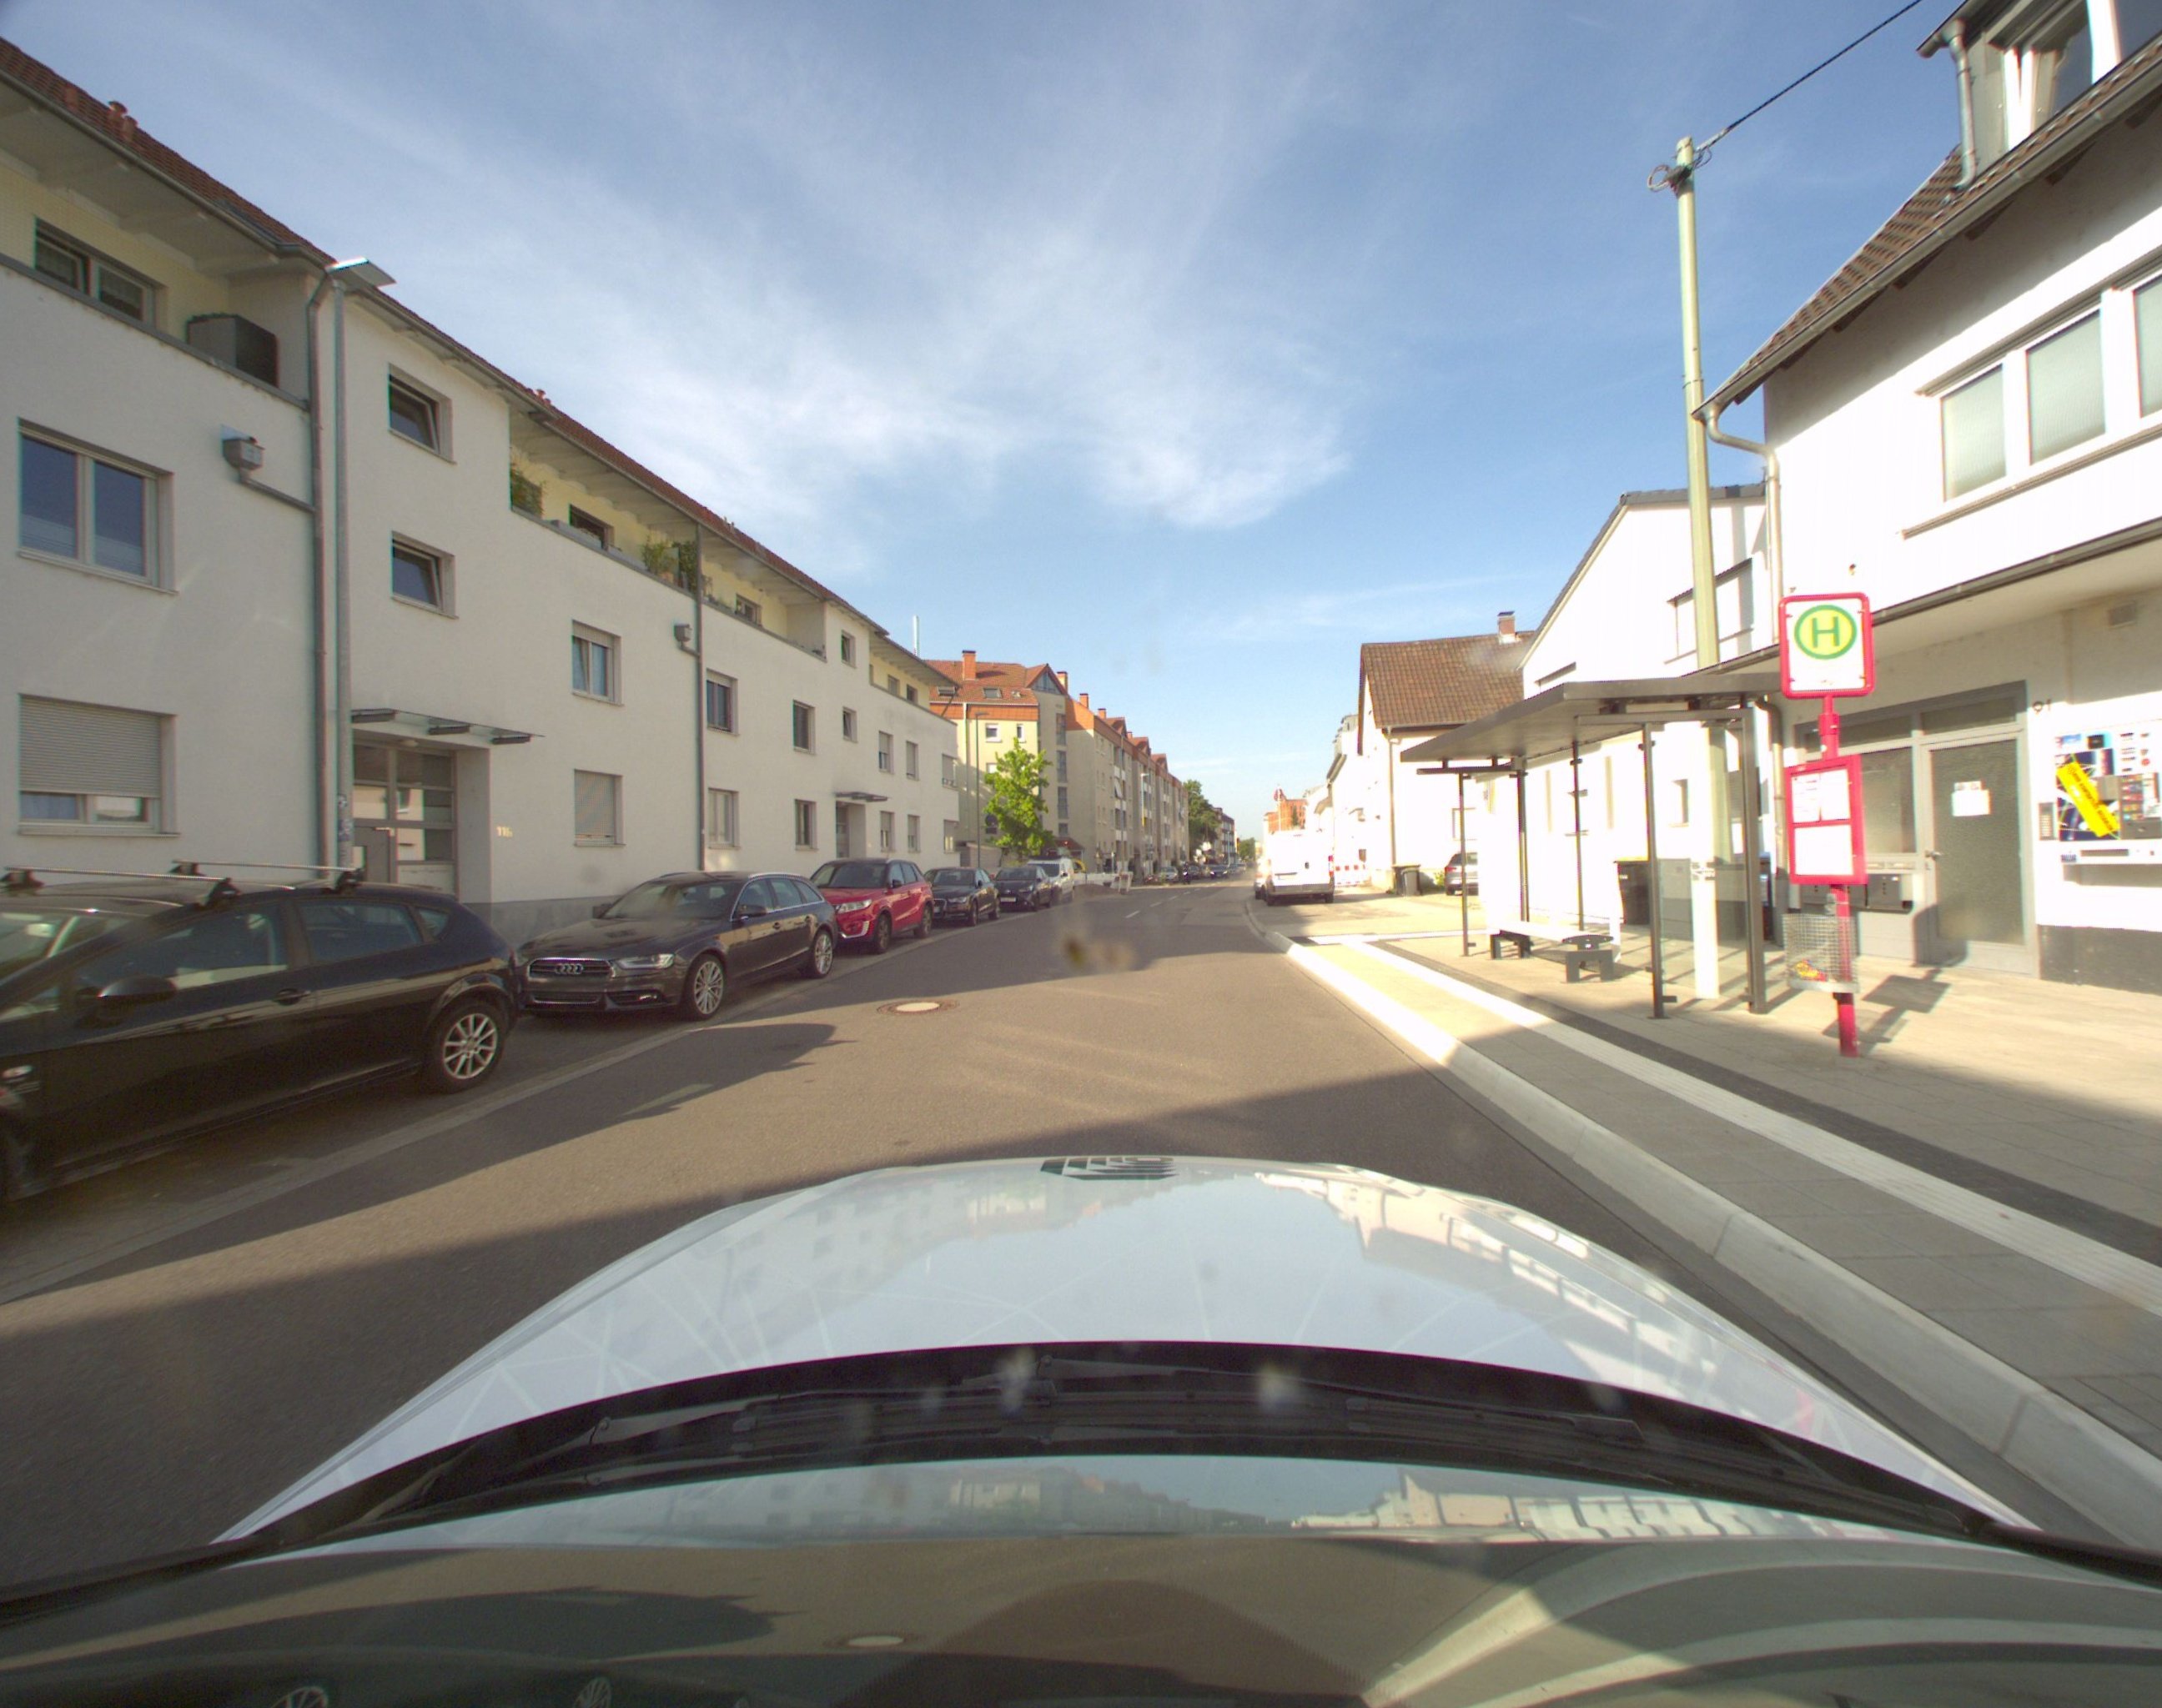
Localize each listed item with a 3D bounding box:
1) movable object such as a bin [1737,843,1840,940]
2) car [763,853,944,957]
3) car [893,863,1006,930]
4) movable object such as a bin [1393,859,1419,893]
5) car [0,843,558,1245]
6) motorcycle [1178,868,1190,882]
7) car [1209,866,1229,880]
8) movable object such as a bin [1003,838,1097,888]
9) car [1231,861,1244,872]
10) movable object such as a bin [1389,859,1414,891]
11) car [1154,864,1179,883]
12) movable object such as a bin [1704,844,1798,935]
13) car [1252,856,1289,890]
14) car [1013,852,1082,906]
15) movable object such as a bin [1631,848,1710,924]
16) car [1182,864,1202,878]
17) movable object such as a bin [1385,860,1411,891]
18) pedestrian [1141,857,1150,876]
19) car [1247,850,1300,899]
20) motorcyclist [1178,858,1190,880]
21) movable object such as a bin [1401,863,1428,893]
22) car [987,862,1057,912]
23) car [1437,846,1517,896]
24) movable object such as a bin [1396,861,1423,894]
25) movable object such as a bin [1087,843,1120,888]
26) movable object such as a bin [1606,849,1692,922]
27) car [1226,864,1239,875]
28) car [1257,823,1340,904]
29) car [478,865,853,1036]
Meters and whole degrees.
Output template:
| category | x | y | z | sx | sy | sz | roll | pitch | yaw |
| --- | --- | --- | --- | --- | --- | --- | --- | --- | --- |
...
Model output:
| category | x | y | z | sx | sy | sz | roll | pitch | yaw |
| --- | --- | --- | --- | --- | --- | --- | --- | --- | --- |
| movable object such as a bin | 8.422 | 0.440 | 9.712 | 0.692 | 1.093 | 0.560 | -2 | -1 | 6 |
| car | -3.981 | 0.821 | 15.043 | 1.718 | 1.622 | 4.270 | -1 | 0 | 6 |
| car | -3.168 | 0.982 | 20.461 | 1.718 | 1.478 | 4.270 | -1 | 0 | 6 |
| movable object such as a bin | 11.177 | 0.763 | 28.003 | 0.723 | 1.132 | 0.555 | -1 | -1 | 11 |
| car | -5.160 | 0.765 | 4.323 | 1.767 | 1.622 | 4.183 | 1 | 0 | 5 |
| motorcycle | 7.956 | 1.590 | 62.769 | 0.763 | 0.985 | 2.206 | -2 | 0 | 11 |
| car | 14.527 | 1.968 | 85.558 | 1.817 | 1.420 | 4.223 | -2 | -1 | 12 |
| movable object such as a bin | -1.819 | 0.525 | 48.541 | 5.482 | 2.900 | 2.110 | -1 | 0 | -2 |
| car | 25.790 | 2.074 | 134.232 | 1.909 | 1.767 | 4.352 | -2 | -1 | 12 |
| movable object such as a bin | 11.274 | 0.741 | 28.650 | 0.723 | 1.093 | 0.555 | -1 | -1 | 11 |
| car | 7.139 | 1.597 | 67.549 | 1.629 | 1.395 | 3.683 | -2 | -1 | 12 |
| movable object such as a bin | 8.508 | 0.445 | 10.360 | 0.693 | 1.093 | 0.559 | -2 | -1 | 4 |
| car | 10.370 | 0.976 | 44.563 | 1.799 | 1.683 | 4.492 | -3 | -1 | 13 |
| car | -1.228 | 0.931 | 31.718 | 1.716 | 1.961 | 4.451 | -1 | 0 | 11 |
| movable object such as a bin | 8.878 | 0.474 | 12.279 | 0.807 | 1.093 | 0.444 | -2 | -1 | 6 |
| car | 11.653 | 1.740 | 85.215 | 1.674 | 1.406 | 4.098 | -1 | -1 | 13 |
| movable object such as a bin | 11.385 | 0.761 | 29.254 | 0.723 | 1.093 | 0.627 | -1 | -1 | 11 |
| pedestrian | 6.139 | 1.184 | 77.805 | 0.713 | 1.818 | 0.748 | -2 | -1 | 14 |
| car | 7.478 | 0.765 | 31.977 | 1.766 | 1.741 | 4.497 | -3 | -1 | 11 |
| motorcyclist | 7.940 | 1.169 | 62.756 | 0.764 | 1.652 | 0.846 | -2 | -1 | 11 |
| movable object such as a bin | 10.924 | 0.778 | 26.693 | 0.723 | 0.959 | 0.555 | -1 | -1 | 11 |
| car | -1.866 | 1.034 | 26.684 | 1.484 | 1.465 | 3.522 | 1 | 0 | 9 |
| car | 12.826 | 0.506 | 26.252 | 1.640 | 1.407 | 4.005 | -4 | -1 | 35 |
| movable object such as a bin | 11.055 | 0.778 | 27.397 | 0.723 | 1.093 | 0.555 | -2 | -1 | 11 |
| movable object such as a bin | 1.620 | 0.780 | 58.096 | 1.637 | 3.138 | 3.913 | 0 | 0 | 12 |
| movable object such as a bin | 8.972 | 0.488 | 12.896 | 0.807 | 1.093 | 0.769 | -2 | -1 | 6 |
| car | 21.180 | 2.192 | 113.504 | 1.606 | 1.455 | 3.697 | -2 | -1 | 12 |
| car | 7.057 | 0.319 | 26.926 | 2.160 | 2.327 | 5.012 | -3 | -1 | 11 |
| car | -4.388 | 0.893 | 9.580 | 1.718 | 1.478 | 4.510 | 0 | 0 | 6 |
